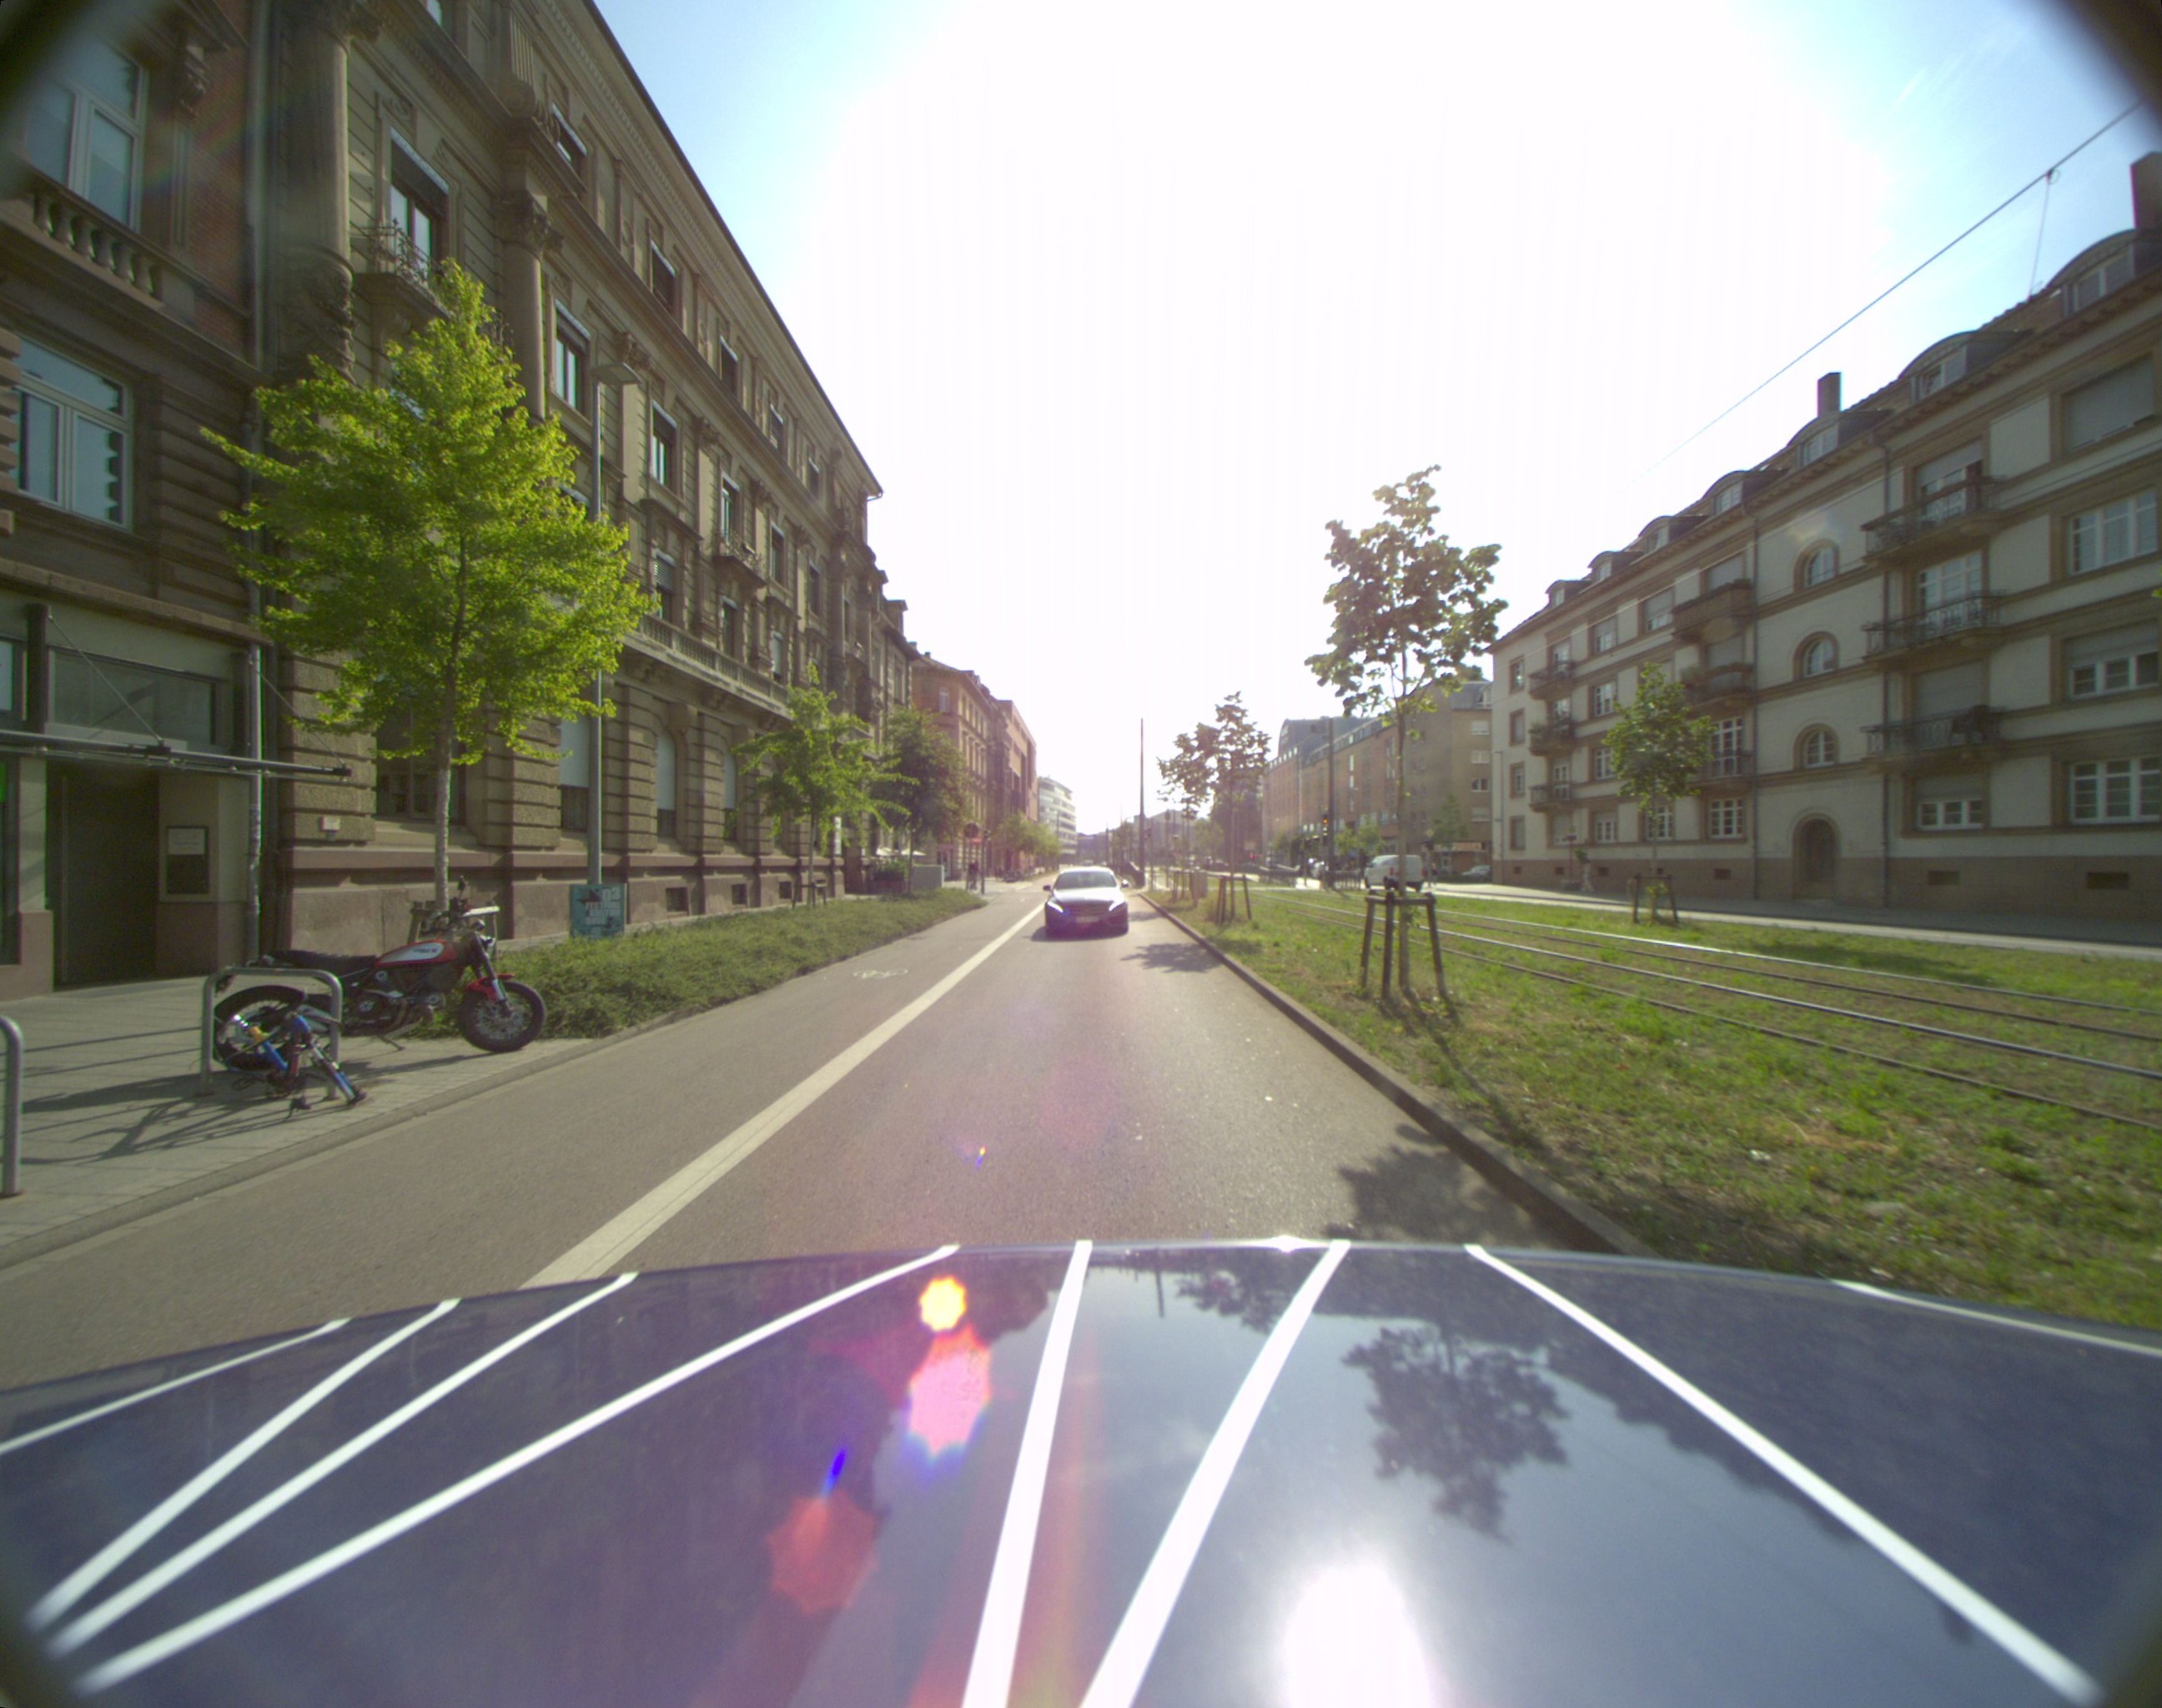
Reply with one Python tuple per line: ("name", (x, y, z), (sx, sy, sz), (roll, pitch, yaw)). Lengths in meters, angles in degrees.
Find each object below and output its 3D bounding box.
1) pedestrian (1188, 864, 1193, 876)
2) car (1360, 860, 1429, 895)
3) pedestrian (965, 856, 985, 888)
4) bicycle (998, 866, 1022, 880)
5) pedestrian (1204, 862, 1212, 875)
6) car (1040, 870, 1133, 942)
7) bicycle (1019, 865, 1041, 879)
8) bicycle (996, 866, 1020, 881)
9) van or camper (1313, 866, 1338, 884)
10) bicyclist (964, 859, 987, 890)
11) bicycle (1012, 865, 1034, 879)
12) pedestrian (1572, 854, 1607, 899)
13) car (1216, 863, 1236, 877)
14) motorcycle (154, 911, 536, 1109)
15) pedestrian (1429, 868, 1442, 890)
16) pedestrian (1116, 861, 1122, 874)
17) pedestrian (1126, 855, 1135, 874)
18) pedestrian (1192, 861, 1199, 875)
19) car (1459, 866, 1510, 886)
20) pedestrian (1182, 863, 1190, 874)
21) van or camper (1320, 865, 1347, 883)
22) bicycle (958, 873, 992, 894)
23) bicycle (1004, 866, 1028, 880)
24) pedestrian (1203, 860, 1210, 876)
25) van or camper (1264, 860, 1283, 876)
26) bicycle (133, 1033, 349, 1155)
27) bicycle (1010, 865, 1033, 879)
("pedestrian", (17.246, 2.497, 119.878), (0.652, 1.750, 0.698), (-3, 0, 2))
("car", (17.411, 1.264, 42.479), (1.998, 1.883, 5.048), (0, -1, 3))
("pedestrian", (-6.045, 1.016, 43.266), (0.992, 1.795, 0.864), (1, -2, -2))
("bicycle", (-5.559, 1.495, 59.843), (1.756, 1.081, 0.583), (2, 0, 5))
("pedestrian", (15.998, 1.821, 95.818), (0.679, 1.521, 0.810), (0, 0, -30))
("car", (0.161, 1.133, 18.018), (1.907, 1.384, 4.236), (-1, 0, 1))
("bicycle", (-4.377, 1.564, 65.318), (1.761, 1.081, 0.610), (3, 0, -8))
("bicycle", (-5.655, 1.498, 59.244), (1.756, 1.081, 0.583), (2, 0, 5))
("van or camper", (28.150, 2.410, 87.471), (1.997, 2.001, 4.002), (0, -1, 6))
("bicyclist", (-5.141, 1.003, 36.951), (0.928, 1.473, 0.587), (2, 1, 39))
("bicycle", (-4.876, 1.540, 63.763), (1.761, 1.081, 0.657), (3, 0, -8))
("pedestrian", (24.216, 1.059, 36.208), (0.844, 2.056, 1.157), (-1, 0, 2))
("car", (20.635, 2.269, 108.499), (1.998, 2.001, 4.932), (0, -1, 0))
("motorcycle", (-5.605, 1.124, 6.011), (2.046, 1.279, 0.703), (2, -1, -34))
("pedestrian", (26.134, 1.831, 55.999), (0.679, 1.574, 0.808), (0, 0, 5))
("pedestrian", (5.071, 1.775, 101.784), (0.675, 1.747, 0.727), (-3, 0, 0))
("pedestrian", (5.426, 1.101, 83.010), (0.835, 2.002, 1.028), (-3, 0, -2))
("pedestrian", (15.715, 1.928, 104.410), (0.807, 1.875, 0.555), (0, 0, 0))
("car", (34.511, 1.871, 65.161), (1.768, 1.590, 4.555), (0, -1, -3))
("pedestrian", (15.863, 2.186, 114.409), (0.787, 1.736, 0.833), (2, 0, -35))
("van or camper", (27.249, 2.142, 82.228), (1.934, 1.956, 4.002), (0, 0, 6))
("bicycle", (-5.149, 1.428, 36.892), (1.779, 0.947, 0.508), (2, 0, 39))
("bicycle", (-5.251, 1.514, 61.089), (1.758, 1.081, 0.669), (3, 0, 7))
("pedestrian", (14.382, 1.615, 87.071), (0.740, 1.861, 0.940), (0, 0, 4))
("van or camper", (33.333, 2.437, 131.662), (1.998, 2.785, 5.354), (0, 0, 2))
("bicycle", (-5.172, 1.466, 4.697), (0.960, 0.606, 0.360), (1, 0, 3))
("bicycle", (-4.896, 1.502, 62.614), (1.763, 1.081, 0.671), (3, 0, -21))
